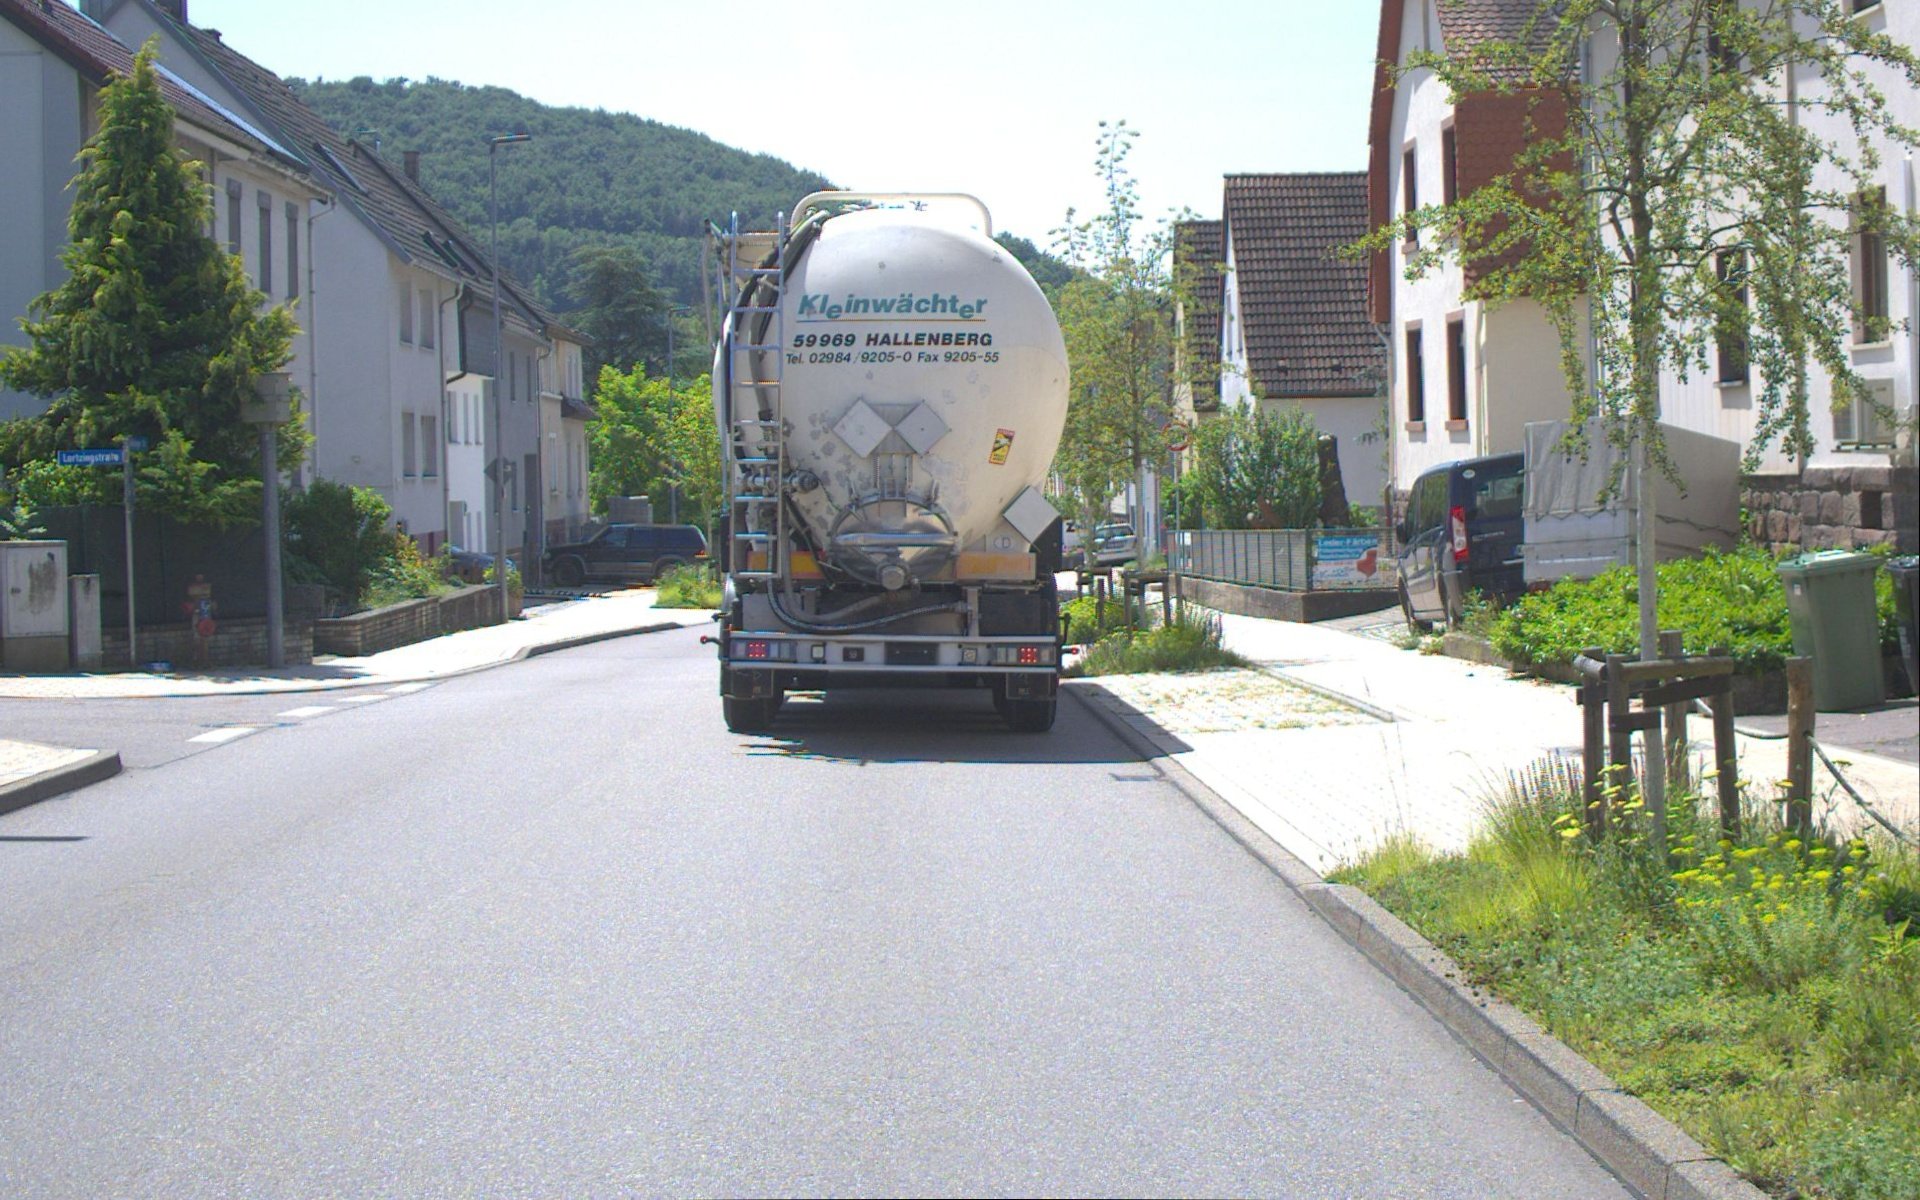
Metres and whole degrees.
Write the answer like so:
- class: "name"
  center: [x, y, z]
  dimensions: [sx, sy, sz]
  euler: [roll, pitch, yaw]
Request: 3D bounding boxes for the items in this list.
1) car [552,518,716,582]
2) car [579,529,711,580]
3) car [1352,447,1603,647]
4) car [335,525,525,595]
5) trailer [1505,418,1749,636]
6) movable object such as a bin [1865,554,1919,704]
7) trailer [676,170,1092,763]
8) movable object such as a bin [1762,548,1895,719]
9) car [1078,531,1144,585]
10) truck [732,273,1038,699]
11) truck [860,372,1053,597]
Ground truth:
- class: "car"
  center: [-9.055, -1.405, 95.738]
  dimensions: [4.394, 1.744, 1.878]
  euler: [0, 1, -1]
- class: "car"
  center: [-9.155, -1.324, 99.861]
  dimensions: [3.547, 1.434, 1.695]
  euler: [0, 1, 34]
- class: "car"
  center: [5.590, -0.578, 37.689]
  dimensions: [1.852, 1.964, 4.774]
  euler: [-3, 1, -1]
- class: "car"
  center: [-11.836, -0.907, 76.983]
  dimensions: [3.987, 1.540, 1.832]
  euler: [0, 1, 0]
- class: "trailer"
  center: [6.401, -0.691, 32.921]
  dimensions: [1.323, 2.007, 2.268]
  euler: [1, 1, 42]
- class: "movable object such as a bin"
  center: [6.649, 0.184, 23.763]
  dimensions: [0.558, 0.982, 0.803]
  euler: [-5, 0, 6]
- class: "trailer"
  center: [-0.630, -1.023, 28.340]
  dimensions: [2.796, 3.987, 10.325]
  euler: [0, 1, -1]
- class: "movable object such as a bin"
  center: [5.960, 0.220, 23.631]
  dimensions: [0.684, 1.111, 0.812]
  euler: [-4, 0, 5]
- class: "car"
  center: [4.638, -1.298, 106.286]
  dimensions: [1.791, 1.536, 4.519]
  euler: [-3, 1, 1]
- class: "truck"
  center: [-0.712, -1.132, 34.960]
  dimensions: [2.808, 3.923, 6.099]
  euler: [1, 1, 0]
- class: "truck"
  center: [-0.225, -2.672, 81.489]
  dimensions: [3.910, 4.879, 9.797]
  euler: [-2, 1, -3]
